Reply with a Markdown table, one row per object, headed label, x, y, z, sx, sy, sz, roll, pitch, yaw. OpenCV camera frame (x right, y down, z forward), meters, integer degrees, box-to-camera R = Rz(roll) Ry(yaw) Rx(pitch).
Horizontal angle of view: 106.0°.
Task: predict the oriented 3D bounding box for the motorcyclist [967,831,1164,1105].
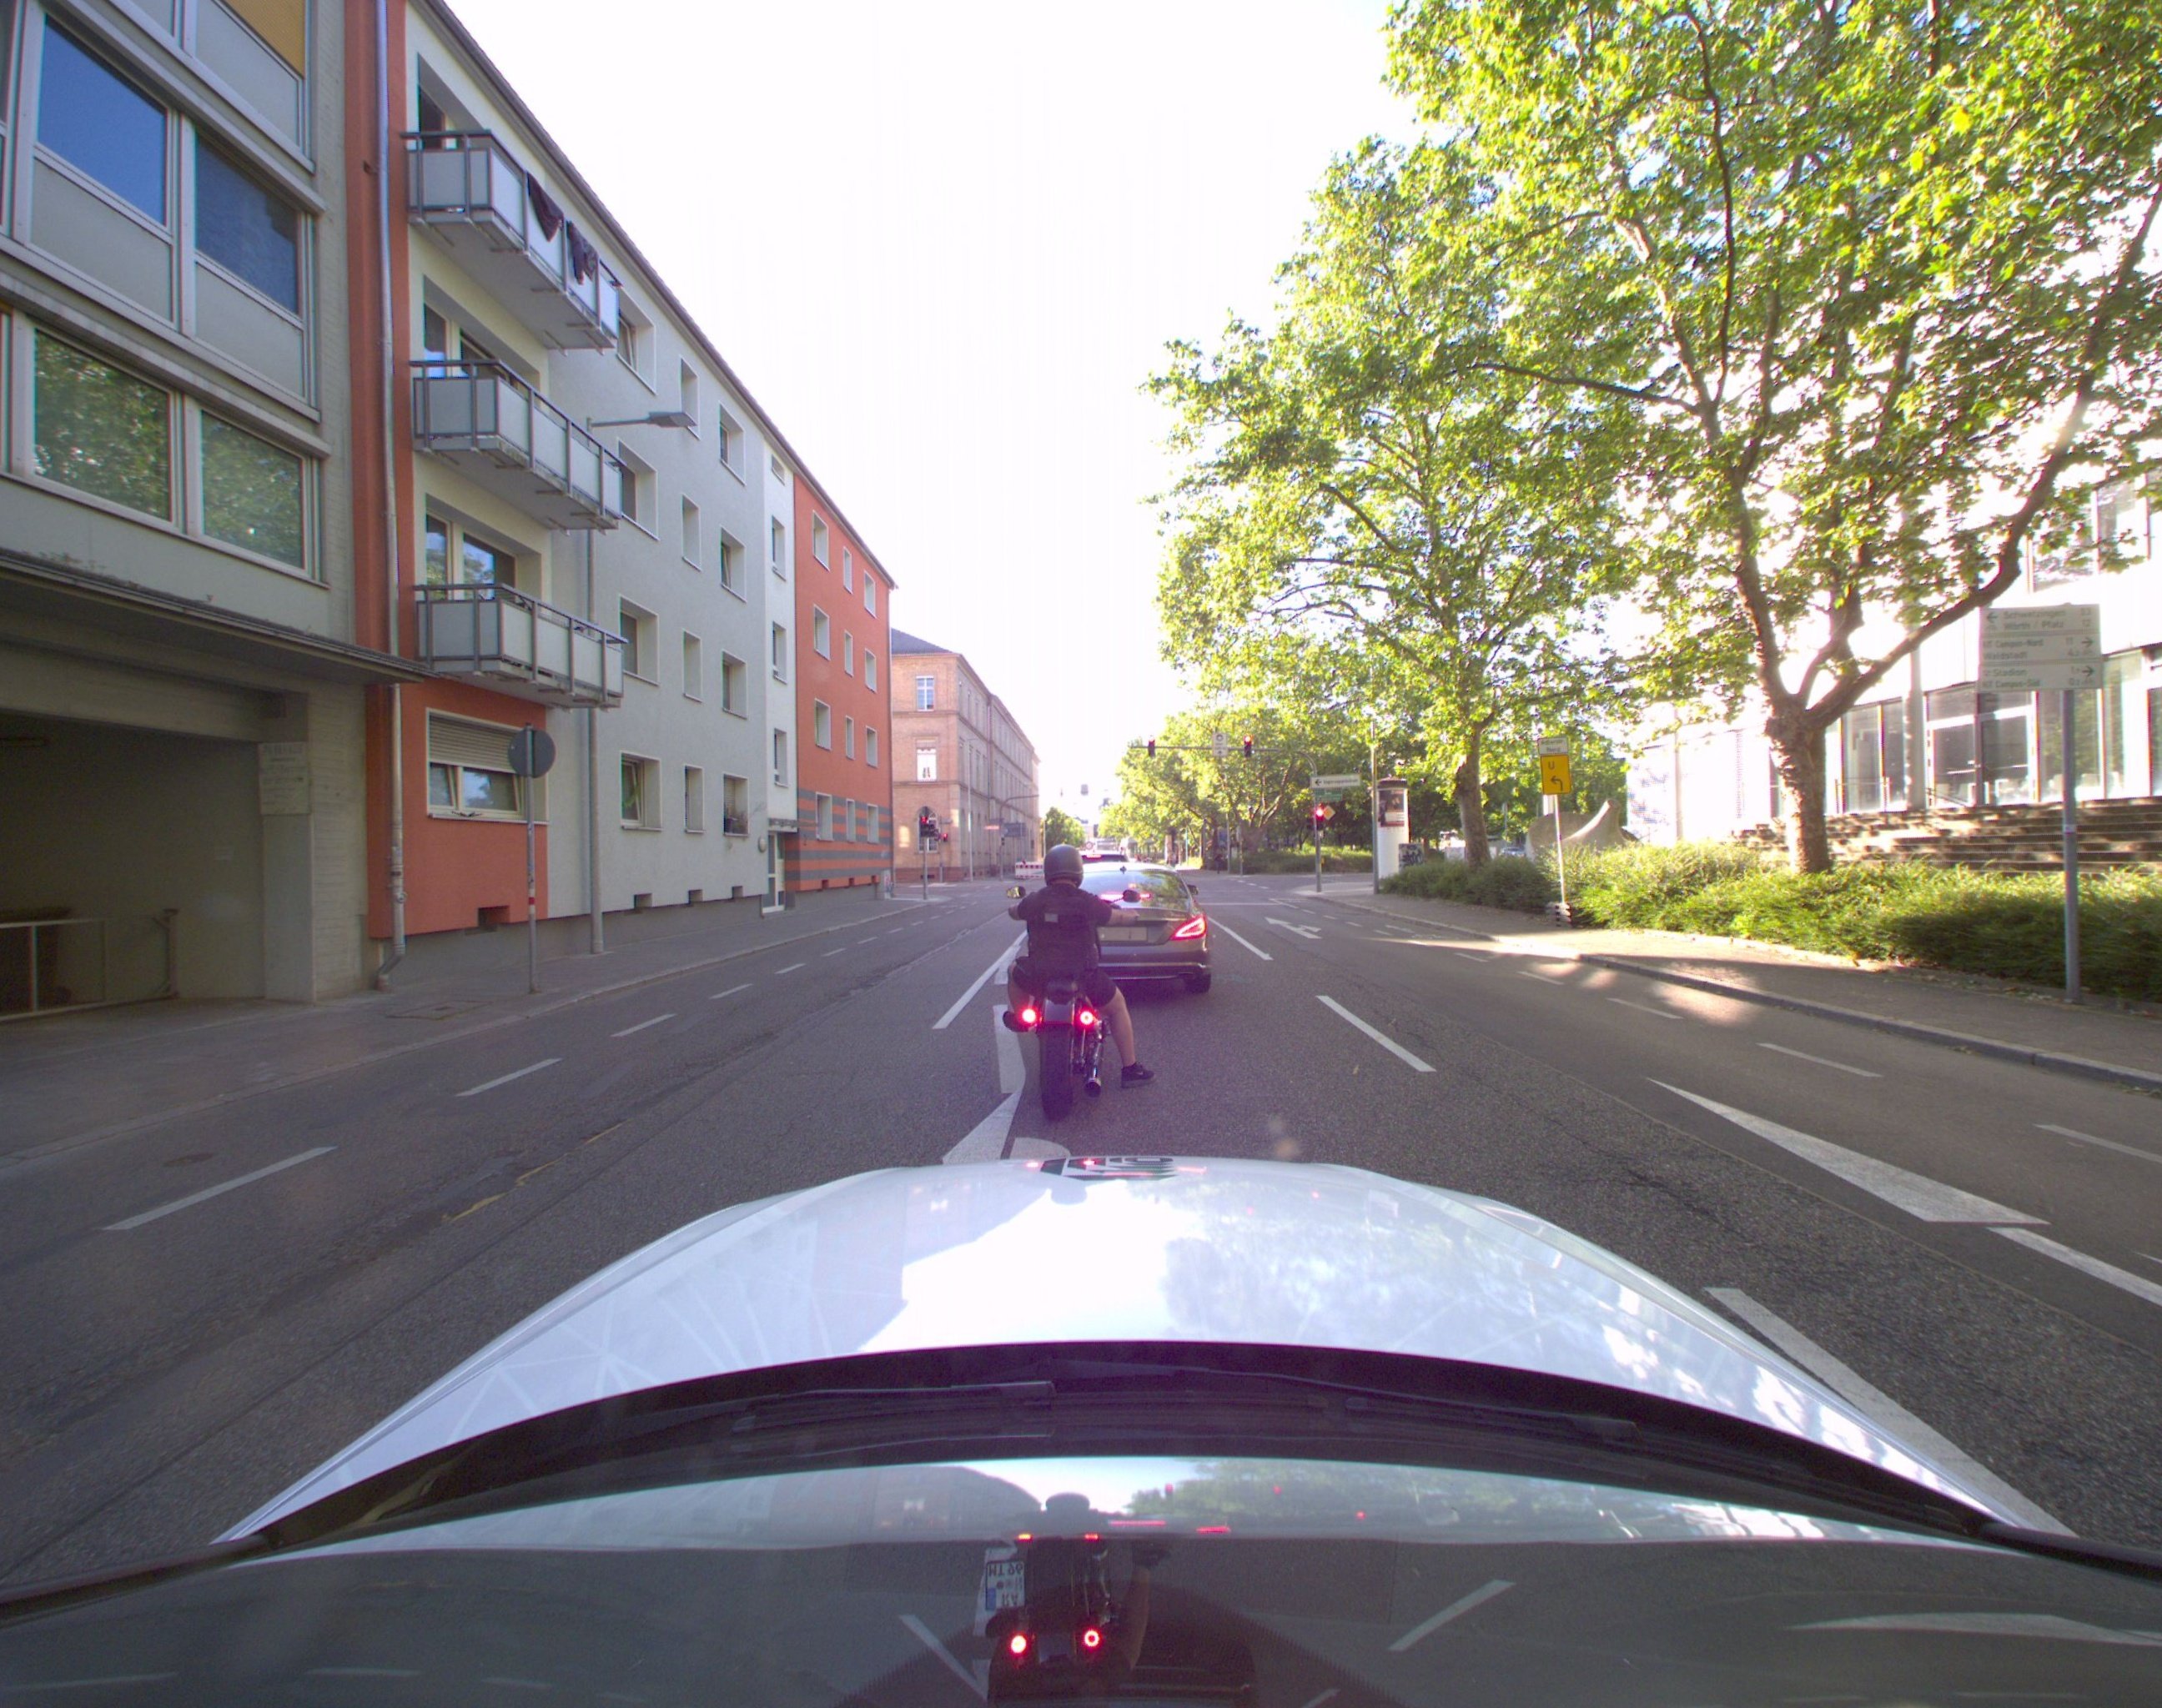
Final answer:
| label | x | y | z | sx | sy | sz | roll | pitch | yaw |
| --- | --- | --- | --- | --- | --- | --- | --- | --- | --- |
| motorcyclist | -0.073 | 0.674 | 5.416 | 1.145 | 1.598 | 1.288 | 0 | -1 | 1 |

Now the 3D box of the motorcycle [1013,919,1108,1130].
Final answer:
| label | x | y | z | sx | sy | sz | roll | pitch | yaw |
| --- | --- | --- | --- | --- | --- | --- | --- | --- | --- |
| motorcycle | -0.077 | 1.006 | 5.439 | 0.511 | 1.002 | 2.014 | 0 | -1 | 2 |

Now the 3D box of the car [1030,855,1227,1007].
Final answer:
| label | x | y | z | sx | sy | sz | roll | pitch | yaw |
| --- | --- | --- | --- | --- | --- | --- | --- | --- | --- |
| car | 0.517 | 0.741 | 9.739 | 1.875 | 1.449 | 3.821 | 0 | 0 | 2 |

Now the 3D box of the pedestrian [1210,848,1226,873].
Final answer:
| label | x | y | z | sx | sy | sz | roll | pitch | yaw |
| --- | --- | --- | --- | --- | --- | --- | --- | --- | --- |
| pedestrian | 10.401 | 0.500 | 61.908 | 0.753 | 1.910 | 0.918 | 0 | -1 | -26 |

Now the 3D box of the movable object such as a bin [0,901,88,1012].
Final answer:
| label | x | y | z | sx | sy | sz | roll | pitch | yaw |
| --- | --- | --- | --- | --- | --- | --- | --- | --- | --- |
| movable object such as a bin | -11.257 | 1.066 | 8.642 | 0.626 | 1.100 | 0.659 | 0 | -1 | 4 |

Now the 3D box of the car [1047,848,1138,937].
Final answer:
| label | x | y | z | sx | sy | sz | roll | pitch | yaw |
| --- | --- | --- | --- | --- | --- | --- | --- | --- | --- |
| car | 0.276 | 0.695 | 16.867 | 1.615 | 1.594 | 4.002 | -1 | 0 | 2 |

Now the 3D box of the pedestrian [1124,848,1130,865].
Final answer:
| label | x | y | z | sx | sy | sz | roll | pitch | yaw |
| --- | --- | --- | --- | --- | --- | --- | --- | --- | --- |
| pedestrian | 5.717 | 0.279 | 100.924 | 0.761 | 2.051 | 0.712 | 0 | -1 | 1 |

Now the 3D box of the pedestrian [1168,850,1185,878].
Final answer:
| label | x | y | z | sx | sy | sz | roll | pitch | yaw |
| --- | --- | --- | --- | --- | --- | --- | --- | --- | --- |
| pedestrian | 6.172 | 0.651 | 52.628 | 0.996 | 1.826 | 1.078 | 0 | -1 | 8 |
